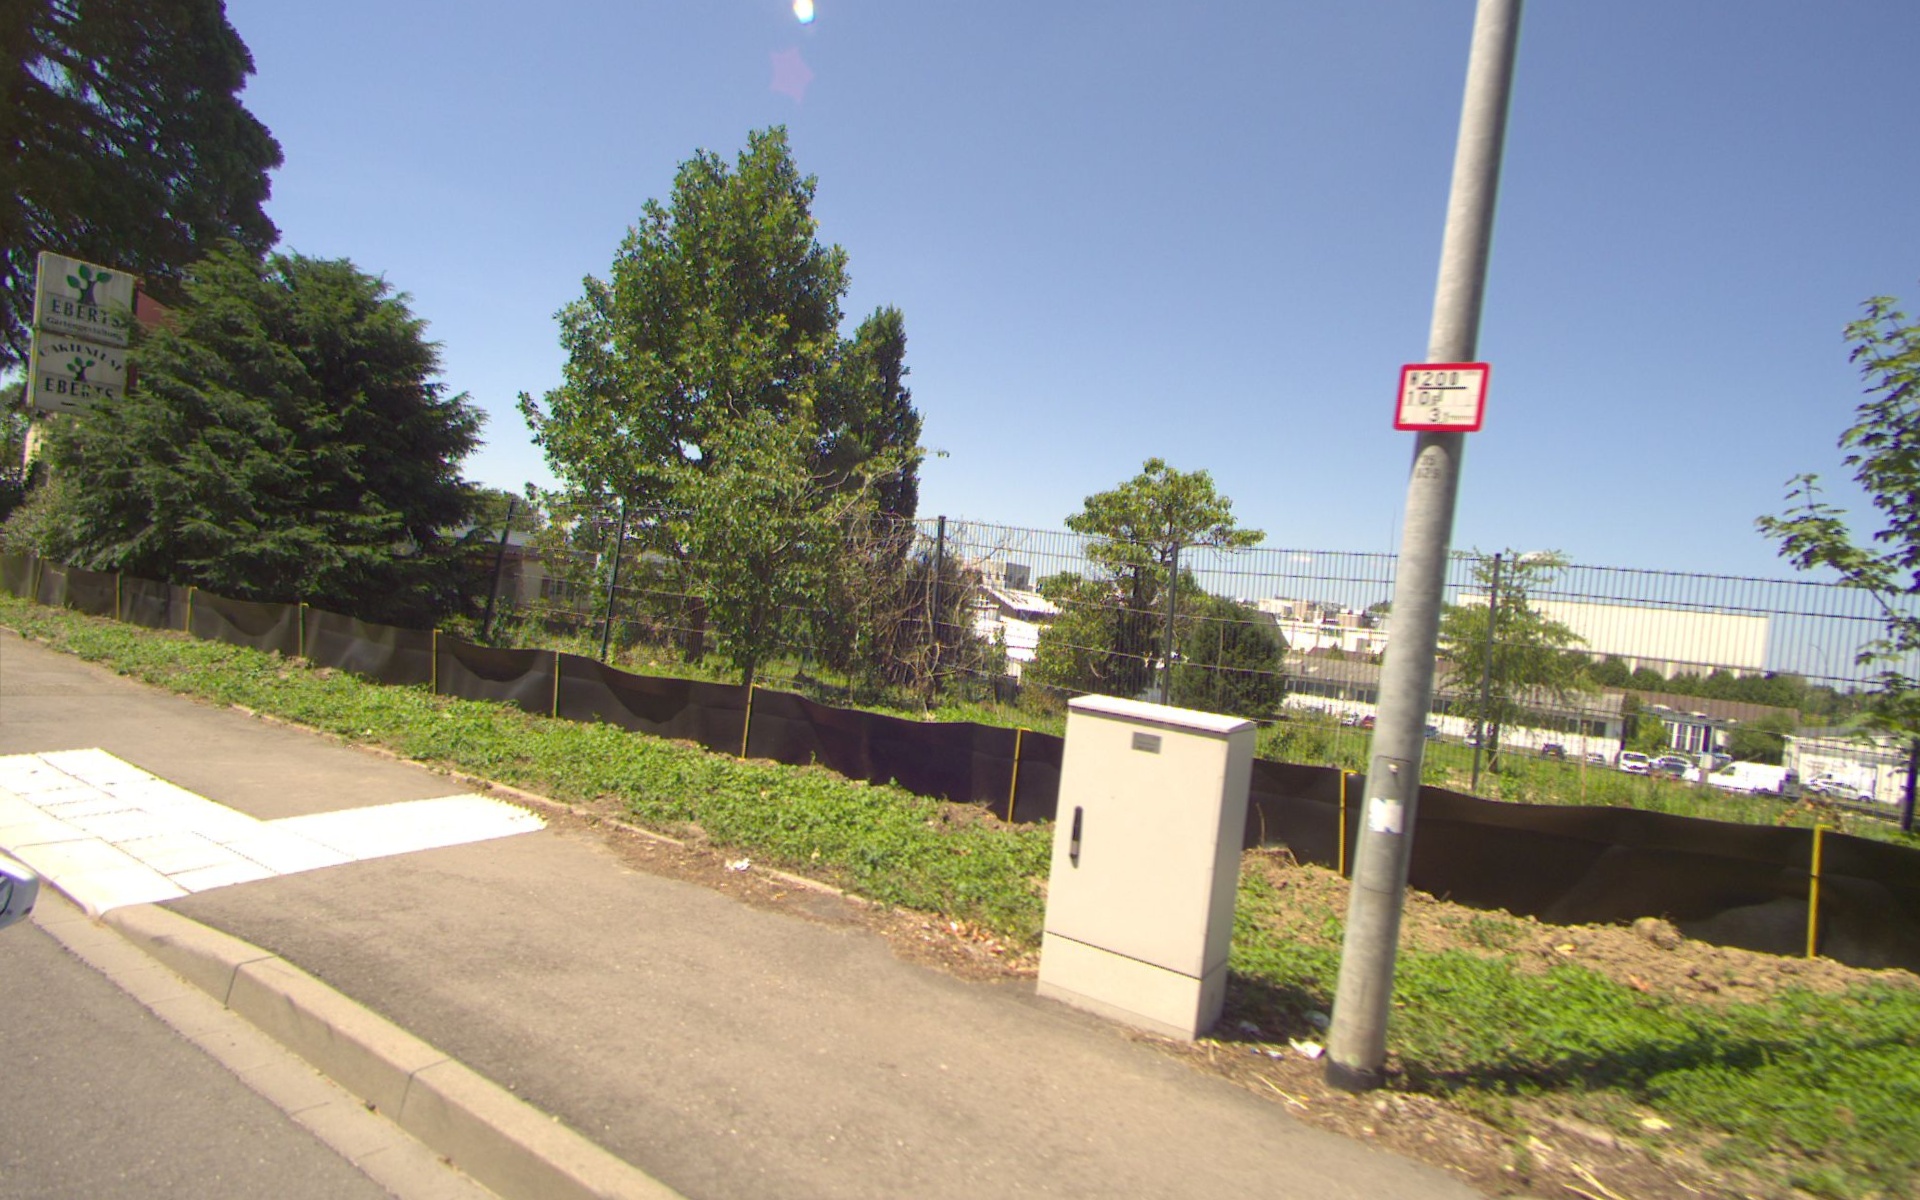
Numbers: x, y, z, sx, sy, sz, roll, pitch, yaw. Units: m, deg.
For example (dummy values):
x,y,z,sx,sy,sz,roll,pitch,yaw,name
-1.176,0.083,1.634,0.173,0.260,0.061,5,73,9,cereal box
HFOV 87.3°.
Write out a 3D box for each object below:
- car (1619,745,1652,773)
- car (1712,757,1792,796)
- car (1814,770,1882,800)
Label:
x,y,z,sx,sy,sz,roll,pitch,yaw,name
54.522,12.833,81.214,1.968,1.759,3.992,7,-1,33,car
60.912,13.568,77.448,1.849,2.037,4.319,8,-1,-23,car
73.408,15.278,83.208,3.785,1.640,1.934,7,-1,32,car
